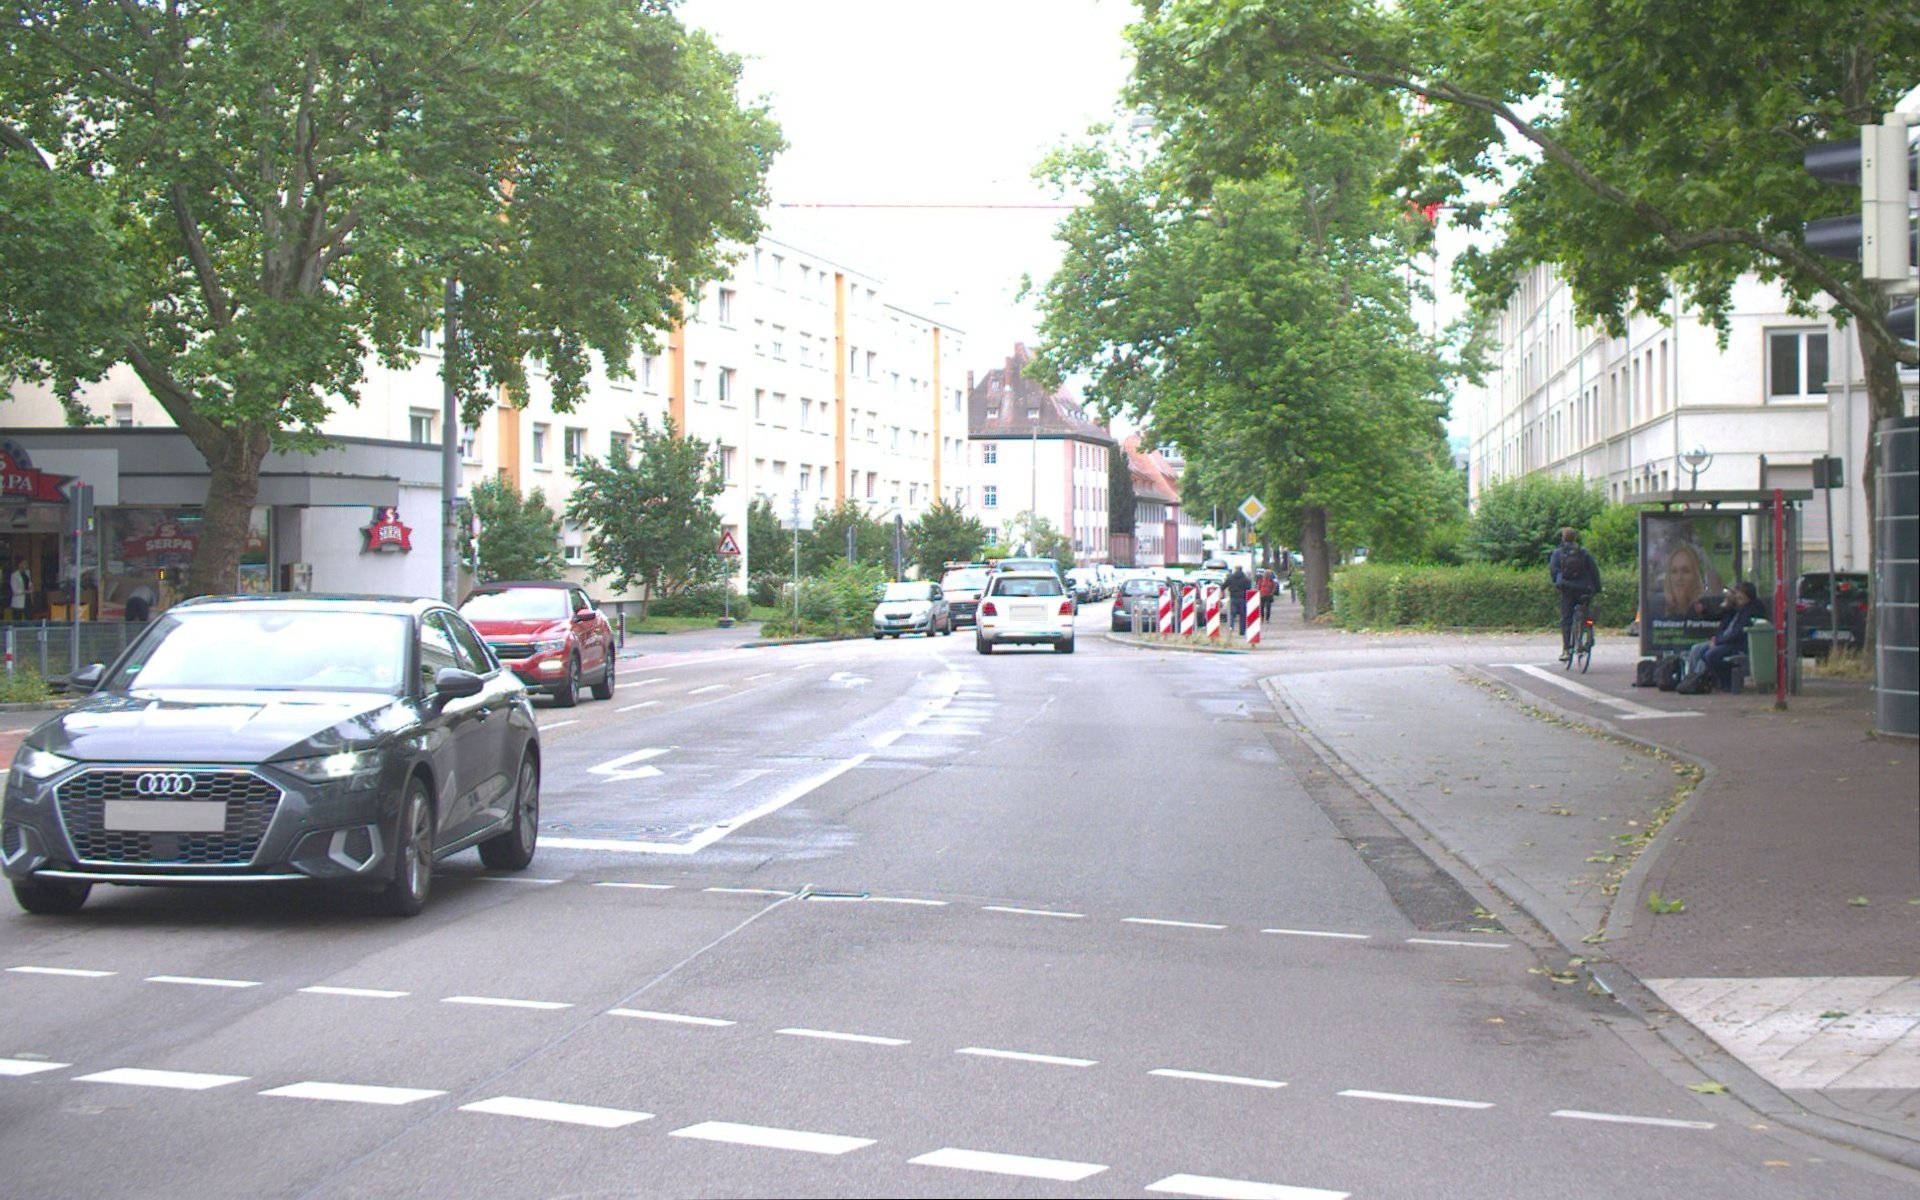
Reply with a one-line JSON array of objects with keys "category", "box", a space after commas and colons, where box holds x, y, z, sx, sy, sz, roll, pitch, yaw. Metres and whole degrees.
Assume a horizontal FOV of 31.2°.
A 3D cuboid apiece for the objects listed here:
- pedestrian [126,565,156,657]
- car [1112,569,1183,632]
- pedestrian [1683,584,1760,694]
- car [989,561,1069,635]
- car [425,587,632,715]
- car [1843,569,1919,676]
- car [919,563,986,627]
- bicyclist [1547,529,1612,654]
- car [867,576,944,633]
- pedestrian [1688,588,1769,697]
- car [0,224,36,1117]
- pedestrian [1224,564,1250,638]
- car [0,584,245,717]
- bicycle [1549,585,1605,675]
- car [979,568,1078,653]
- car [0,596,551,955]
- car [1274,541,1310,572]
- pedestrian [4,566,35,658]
[{"category": "pedestrian", "box": [-14.993, 0.199, 62.934, 0.515, 1.675, 0.511, 0, 0, -14]}, {"category": "car", "box": [4.913, -0.002, 90.302, 1.815, 1.586, 4.000, 0, 1, 3]}, {"category": "pedestrian", "box": [9.524, 0.482, 43.012, 0.818, 1.367, 0.762, 0, 0, 3]}, {"category": "car", "box": [1.800, -0.069, 88.487, 1.993, 1.842, 4.000, 0, 1, 2]}, {"category": "car", "box": [-5.321, 0.598, 42.879, 1.853, 1.448, 4.167, 0, 1, 3]}, {"category": "car", "box": [13.364, 0.288, 48.107, 1.516, 1.423, 3.996, 0, 1, 21]}, {"category": "car", "box": [-0.223, -0.172, 104.167, 1.767, 1.905, 4.000, 0, 1, 4]}, {"category": "bicyclist", "box": [8.786, -0.123, 48.779, 0.760, 1.753, 0.820, 0, 0, -1]}, {"category": "car", "box": [-1.454, 0.107, 92.752, 1.767, 1.481, 4.000, 0, 1, 4]}, {"category": "pedestrian", "box": [9.404, 0.517, 42.101, 0.853, 1.310, 0.762, 0, 1, 3]}, {"category": "car", "box": [-3.756, 0.232, 6.941, 2.134, 2.442, 5.579, 0, 1, 1]}, {"category": "pedestrian", "box": [6.268, 0.023, 77.904, 0.550, 1.679, 0.570, 0, 0, 2]}, {"category": "car", "box": [-11.666, 0.644, 45.433, 3.986, 1.700, 2.000, 0, 0, -25]}, {"category": "bicycle", "box": [8.714, 0.410, 48.620, 0.417, 1.238, 1.927, 0, 1, -1]}, {"category": "car", "box": [1.371, 0.189, 67.790, 1.815, 1.586, 4.000, 0, 1, 3]}, {"category": "car", "box": [-3.163, 0.722, 16.354, 1.809, 1.422, 4.317, 0, 1, 2]}, {"category": "car", "box": [21.201, -2.769, 219.450, 1.993, 2.007, 4.000, 0, 0, 2]}, {"category": "pedestrian", "box": [-17.172, 0.221, 62.754, 0.509, 1.675, 0.517, 0, 0, -13]}]
